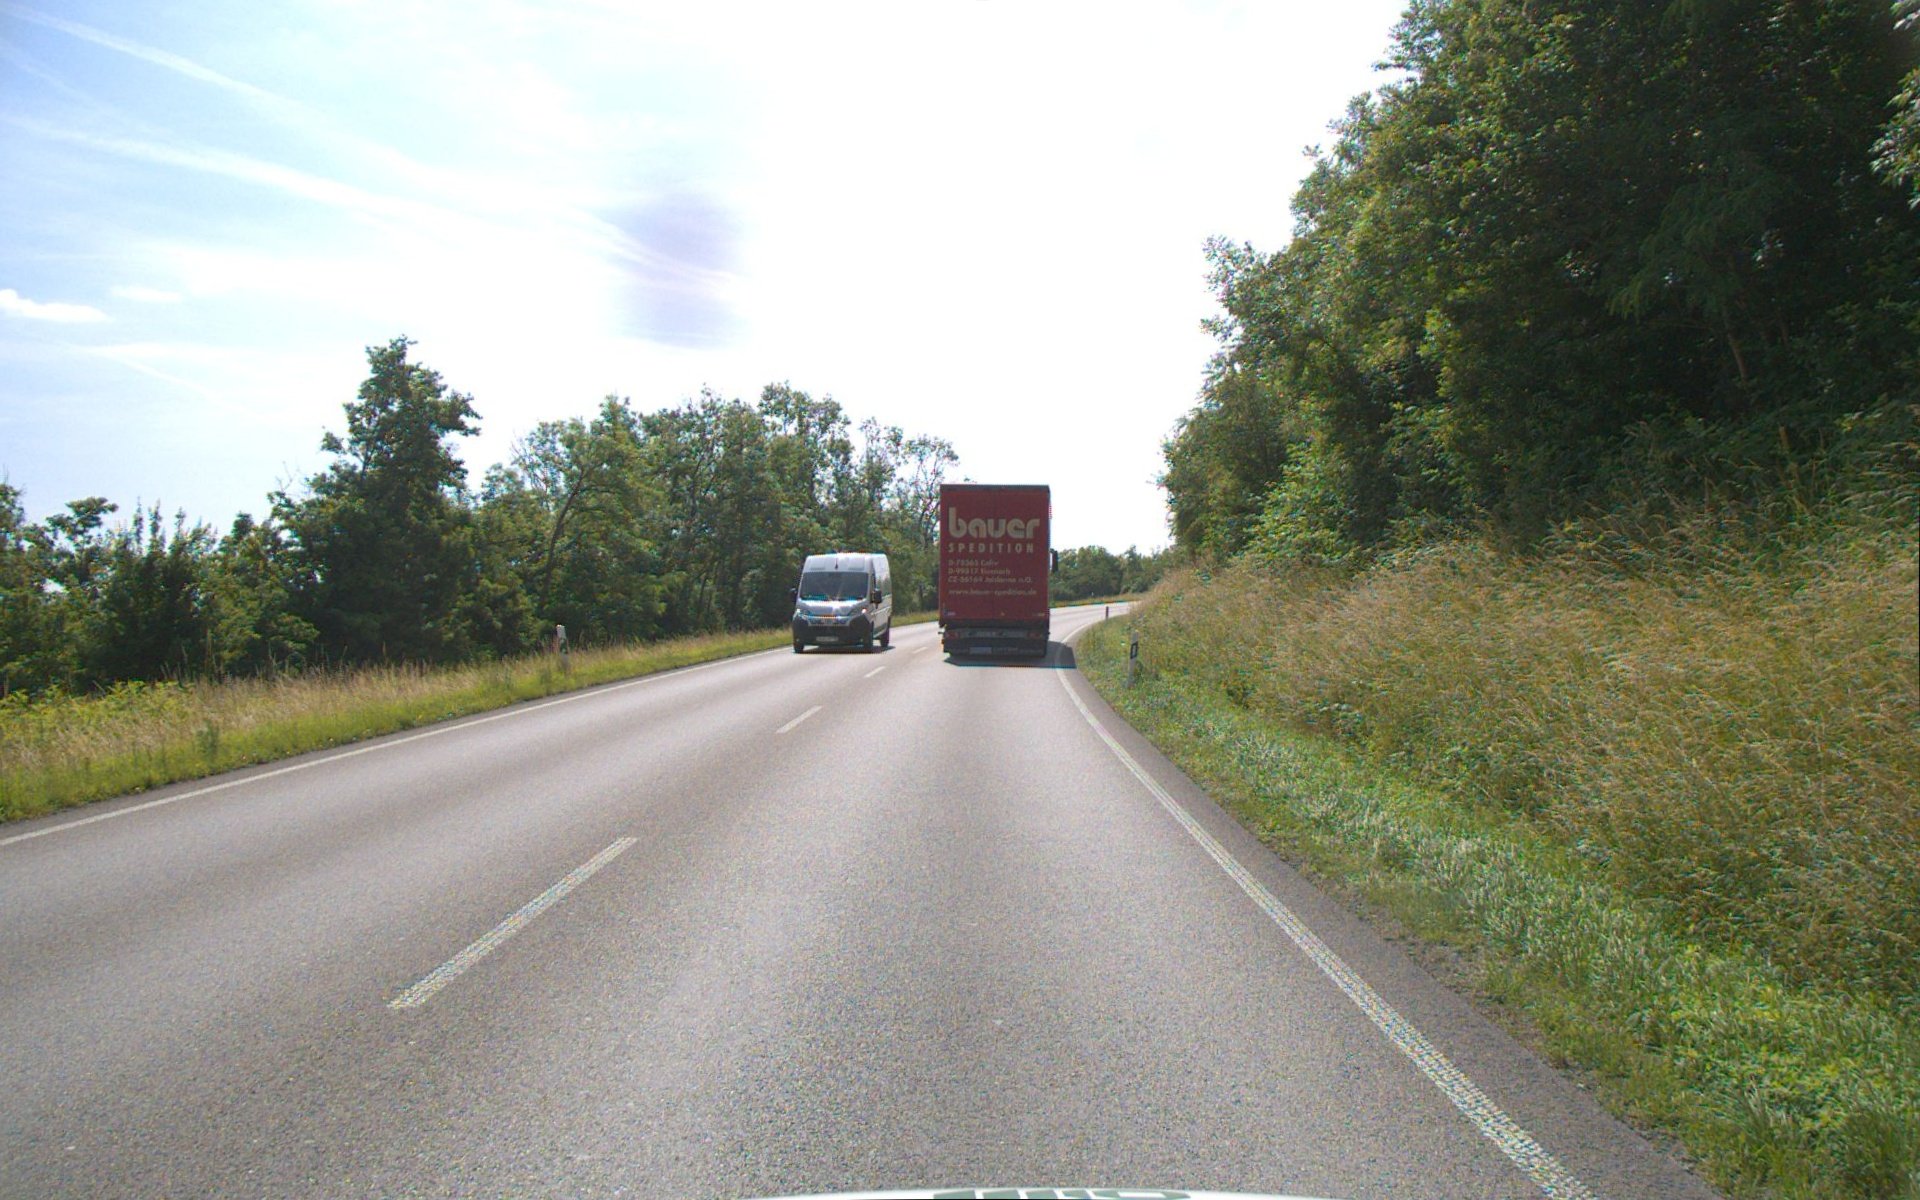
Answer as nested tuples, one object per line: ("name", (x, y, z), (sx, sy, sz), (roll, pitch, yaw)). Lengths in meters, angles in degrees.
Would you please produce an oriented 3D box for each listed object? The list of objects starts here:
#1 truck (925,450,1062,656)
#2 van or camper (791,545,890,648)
("truck", (0.770, -1.084, 43.075), (3.048, 4.584, 12.167), (0, 0, 0))
("van or camper", (-3.098, -0.104, 44.254), (2.163, 2.572, 6.133), (0, 0, 0))
